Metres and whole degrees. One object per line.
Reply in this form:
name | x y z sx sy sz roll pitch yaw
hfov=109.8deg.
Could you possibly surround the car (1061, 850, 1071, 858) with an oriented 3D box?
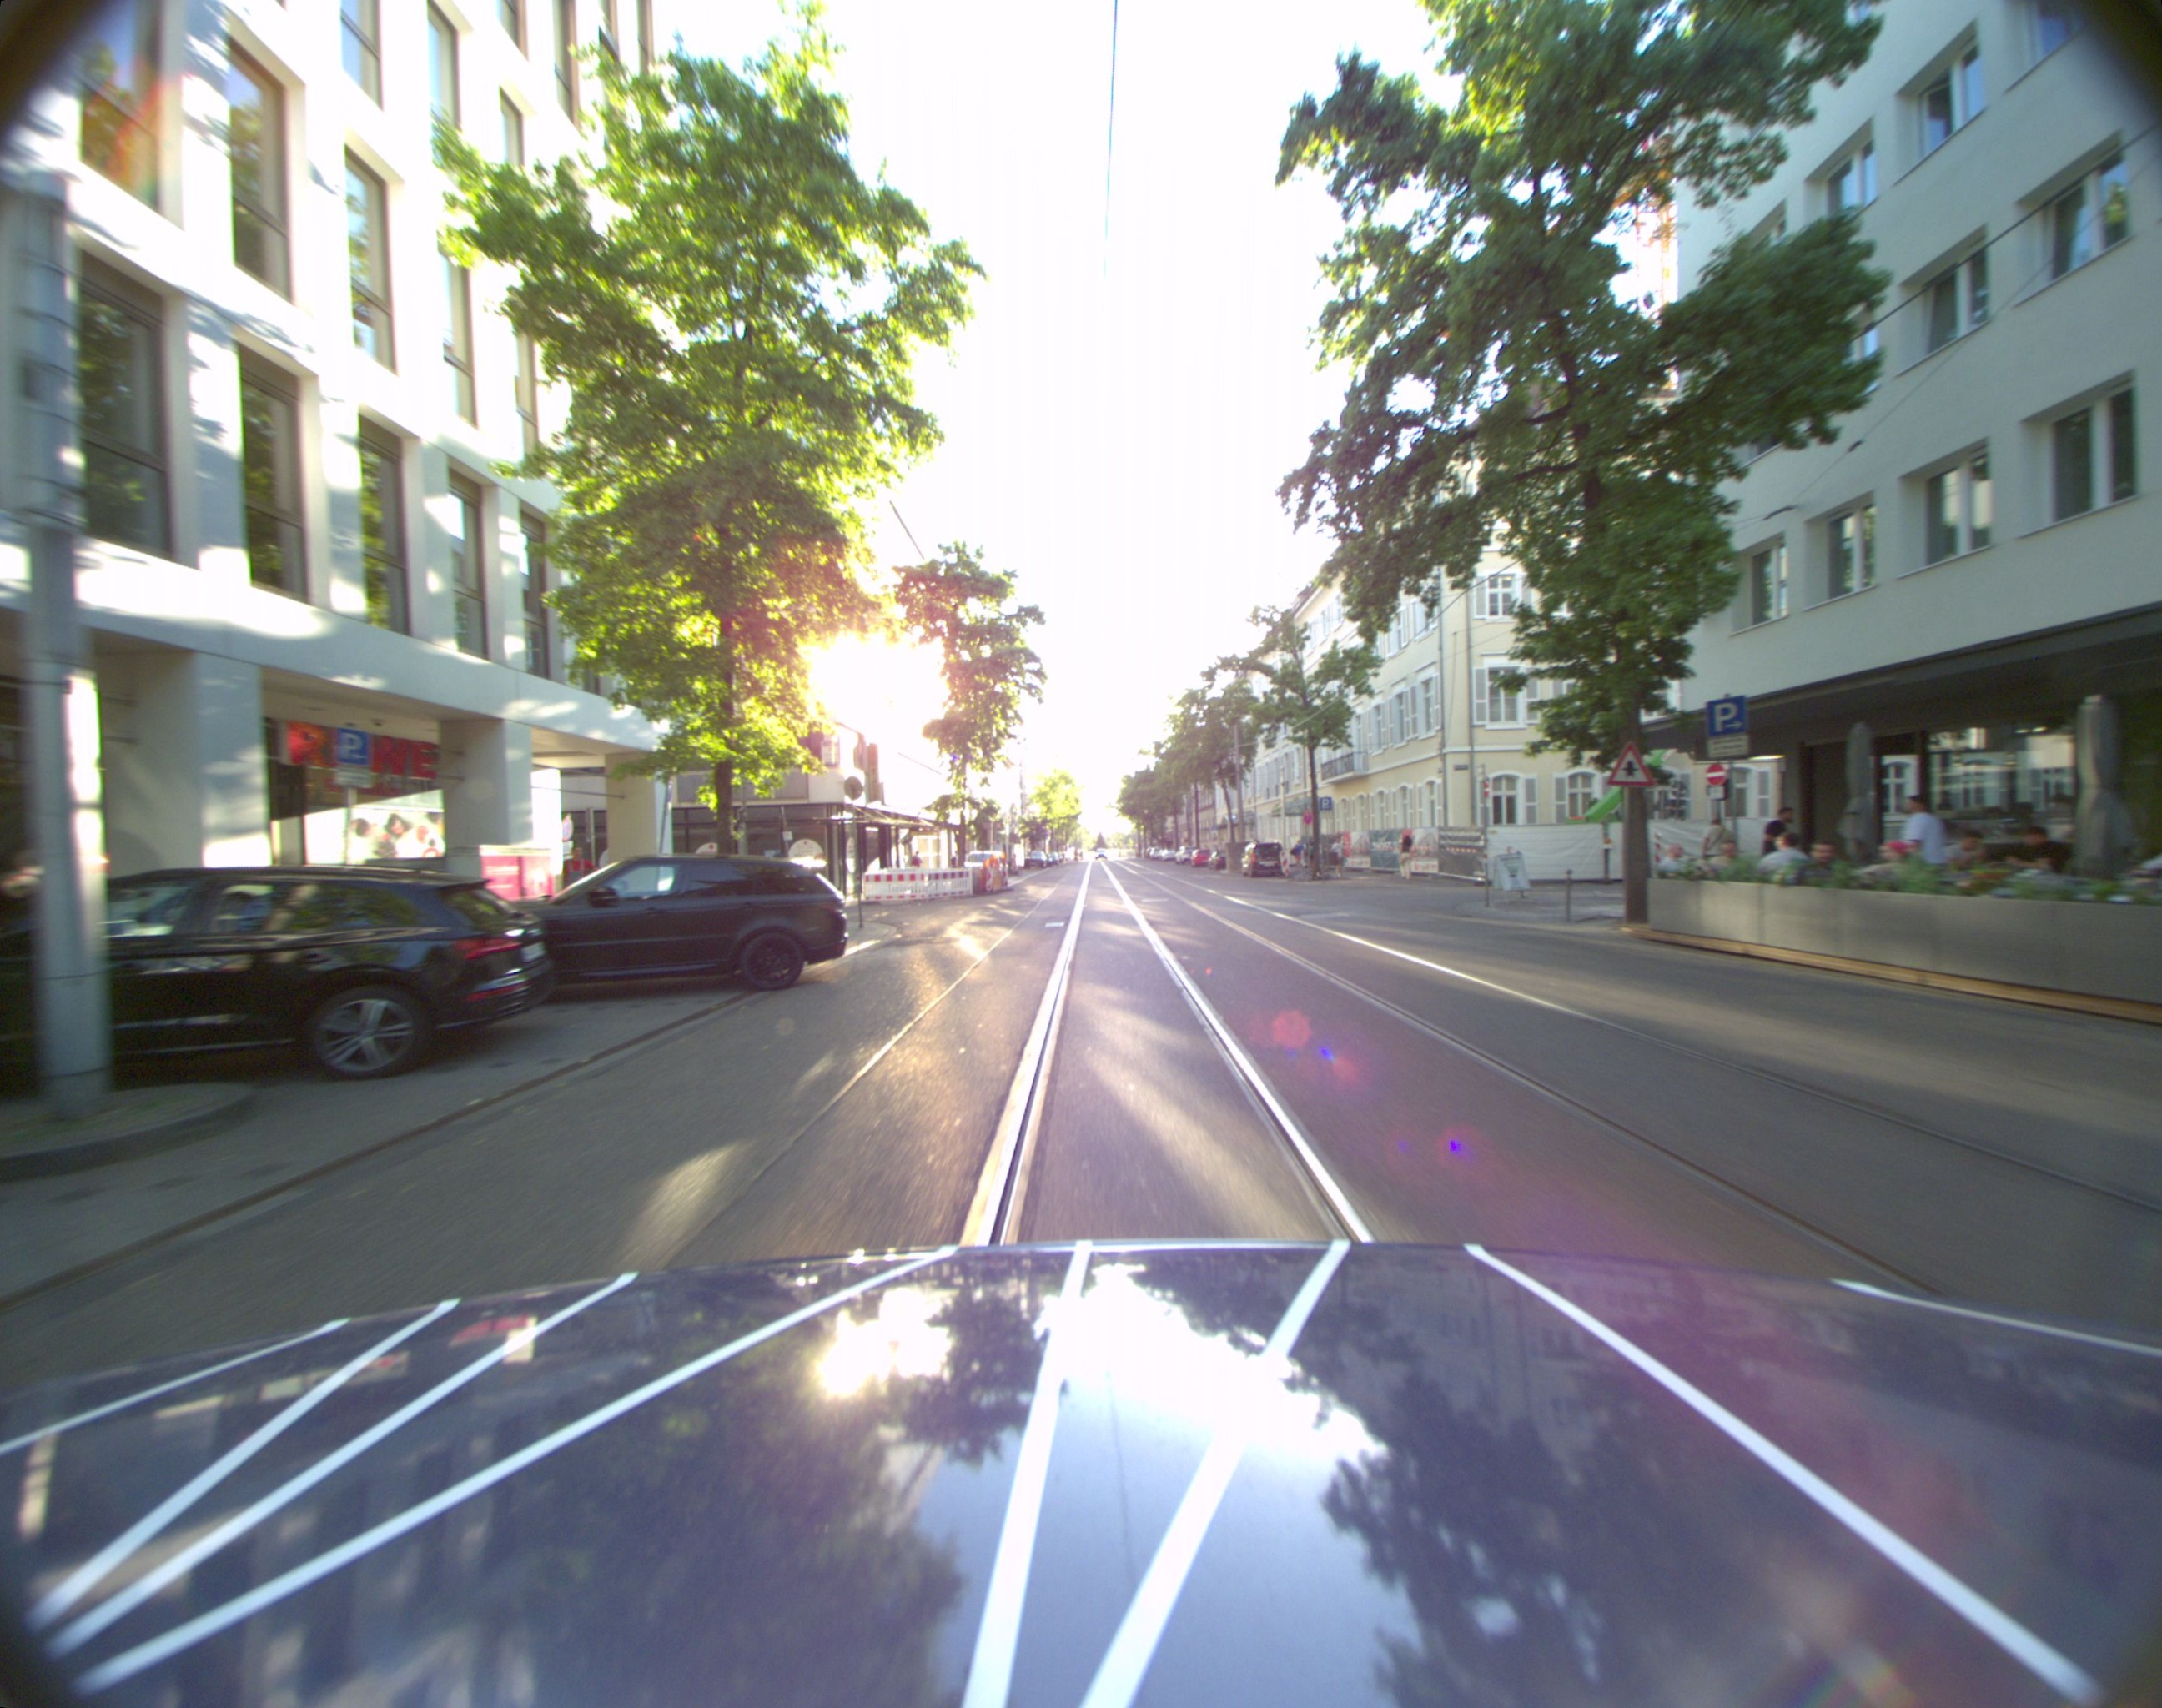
car | -2.652 -0.071 133.108 1.564 1.391 3.697 1 1 1

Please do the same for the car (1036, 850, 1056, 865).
car | -3.828 0.347 81.982 1.871 1.502 4.241 1 1 -7

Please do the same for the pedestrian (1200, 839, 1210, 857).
pedestrian | 12.087 -0.585 74.336 0.746 1.733 0.933 -4 1 2

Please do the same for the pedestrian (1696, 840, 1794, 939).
pedestrian | 9.797 0.499 11.242 0.691 1.378 0.807 -4 1 2

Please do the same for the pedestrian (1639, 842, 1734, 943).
pedestrian | 8.836 0.539 11.115 0.691 1.378 0.807 -4 1 2

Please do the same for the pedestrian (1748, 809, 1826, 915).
pedestrian | 12.601 0.142 13.585 0.685 1.805 0.765 -3 1 16

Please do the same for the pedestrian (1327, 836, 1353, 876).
pedestrian | 11.807 0.082 34.623 0.776 1.782 0.984 -4 1 3

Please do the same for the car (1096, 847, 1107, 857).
car | 3.564 -0.305 130.488 1.827 1.603 3.796 -1 1 2

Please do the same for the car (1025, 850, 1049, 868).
car | -4.235 0.490 74.051 1.985 1.679 4.873 1 1 1

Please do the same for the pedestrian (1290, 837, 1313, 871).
pedestrian | 12.086 0.000 41.623 0.867 1.771 0.884 -4 1 1

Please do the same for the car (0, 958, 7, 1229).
car | -7.358 1.203 2.166 4.671 1.418 1.930 0 1 -20

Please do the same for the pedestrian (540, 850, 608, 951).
pedestrian | -9.522 0.847 14.285 0.754 1.808 0.804 2 2 34

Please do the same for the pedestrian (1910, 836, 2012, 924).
pedestrian | 13.376 0.387 11.573 0.646 1.262 0.738 -4 1 2

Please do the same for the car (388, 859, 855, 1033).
car | -5.501 0.973 9.770 4.674 1.753 1.990 1 1 -28

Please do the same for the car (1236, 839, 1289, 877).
car | 9.600 0.182 40.570 1.862 1.822 4.559 -3 1 3

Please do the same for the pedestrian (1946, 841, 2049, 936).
pedestrian | 12.623 0.458 10.481 0.553 1.228 0.687 -4 1 2

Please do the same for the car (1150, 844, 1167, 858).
car | 11.233 -0.451 110.396 1.952 1.731 4.765 -4 0 1

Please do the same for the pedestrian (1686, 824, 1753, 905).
pedestrian | 14.102 0.230 16.806 0.864 1.730 0.799 -2 0 20

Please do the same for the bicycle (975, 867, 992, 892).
bicycle | -4.210 1.106 32.986 0.494 0.976 1.930 -2 1 -1

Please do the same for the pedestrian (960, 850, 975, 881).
pedestrian | -6.870 0.694 46.003 0.707 1.820 0.634 -2 1 1

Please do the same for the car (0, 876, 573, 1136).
car | -7.132 1.053 6.181 4.672 1.645 2.004 0 1 -23

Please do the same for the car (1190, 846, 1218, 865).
car | 10.135 0.134 62.895 1.664 1.397 4.141 -4 1 2

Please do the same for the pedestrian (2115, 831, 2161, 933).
pedestrian | 12.646 0.317 8.728 0.553 1.155 0.687 -4 1 2

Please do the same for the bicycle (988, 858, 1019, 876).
bicycle | -4.963 0.813 48.852 1.816 1.128 0.841 0 2 9

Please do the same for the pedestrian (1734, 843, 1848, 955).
pedestrian | 9.311 0.570 10.000 0.691 1.378 0.807 -4 1 2

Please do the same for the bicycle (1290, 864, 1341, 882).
bicycle | 9.854 0.785 32.034 1.799 0.605 1.282 -3 1 4

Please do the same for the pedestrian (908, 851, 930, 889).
pedestrian | -8.131 0.792 38.119 0.835 1.886 0.918 -1 1 4

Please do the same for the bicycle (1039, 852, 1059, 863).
bicycle | -3.725 0.428 88.494 2.325 1.181 0.751 -2 1 2

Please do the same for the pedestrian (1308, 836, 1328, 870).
pedestrian | 12.958 -0.073 41.517 0.721 1.802 0.876 -4 1 1

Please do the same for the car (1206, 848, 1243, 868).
car | 10.146 0.263 54.105 1.722 1.238 4.507 -4 1 1

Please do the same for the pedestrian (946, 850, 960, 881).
pedestrian | -7.725 0.707 45.789 0.690 1.820 0.634 -2 1 1

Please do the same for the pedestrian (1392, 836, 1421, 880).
pedestrian | 12.507 0.141 29.208 0.709 1.646 0.967 -2 0 3

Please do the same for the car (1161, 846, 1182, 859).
car | 10.823 -0.193 91.041 1.897 1.458 4.616 -5 0 2

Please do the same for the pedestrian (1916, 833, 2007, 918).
pedestrian | 13.367 0.312 11.553 0.553 1.228 0.687 -4 1 2

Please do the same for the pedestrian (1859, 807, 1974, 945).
pedestrian | 11.429 0.289 10.411 0.759 1.781 0.686 -4 1 -3

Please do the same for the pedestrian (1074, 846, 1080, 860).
pedestrian | -0.523 -0.119 106.330 0.705 1.858 0.792 -2 1 -1

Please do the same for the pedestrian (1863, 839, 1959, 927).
pedestrian | 12.716 0.426 11.664 0.628 1.274 0.727 -4 1 2

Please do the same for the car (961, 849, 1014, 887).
car | -4.569 0.650 37.797 2.028 1.727 4.906 1 1 0

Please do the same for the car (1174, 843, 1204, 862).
car | 10.258 -0.167 72.717 1.870 1.679 4.950 -5 1 -2

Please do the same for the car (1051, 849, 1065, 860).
car | -3.276 0.084 108.912 1.798 1.502 3.985 1 1 1

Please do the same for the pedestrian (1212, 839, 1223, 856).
pedestrian | 13.340 -0.623 74.298 0.746 1.571 0.933 -4 1 1
